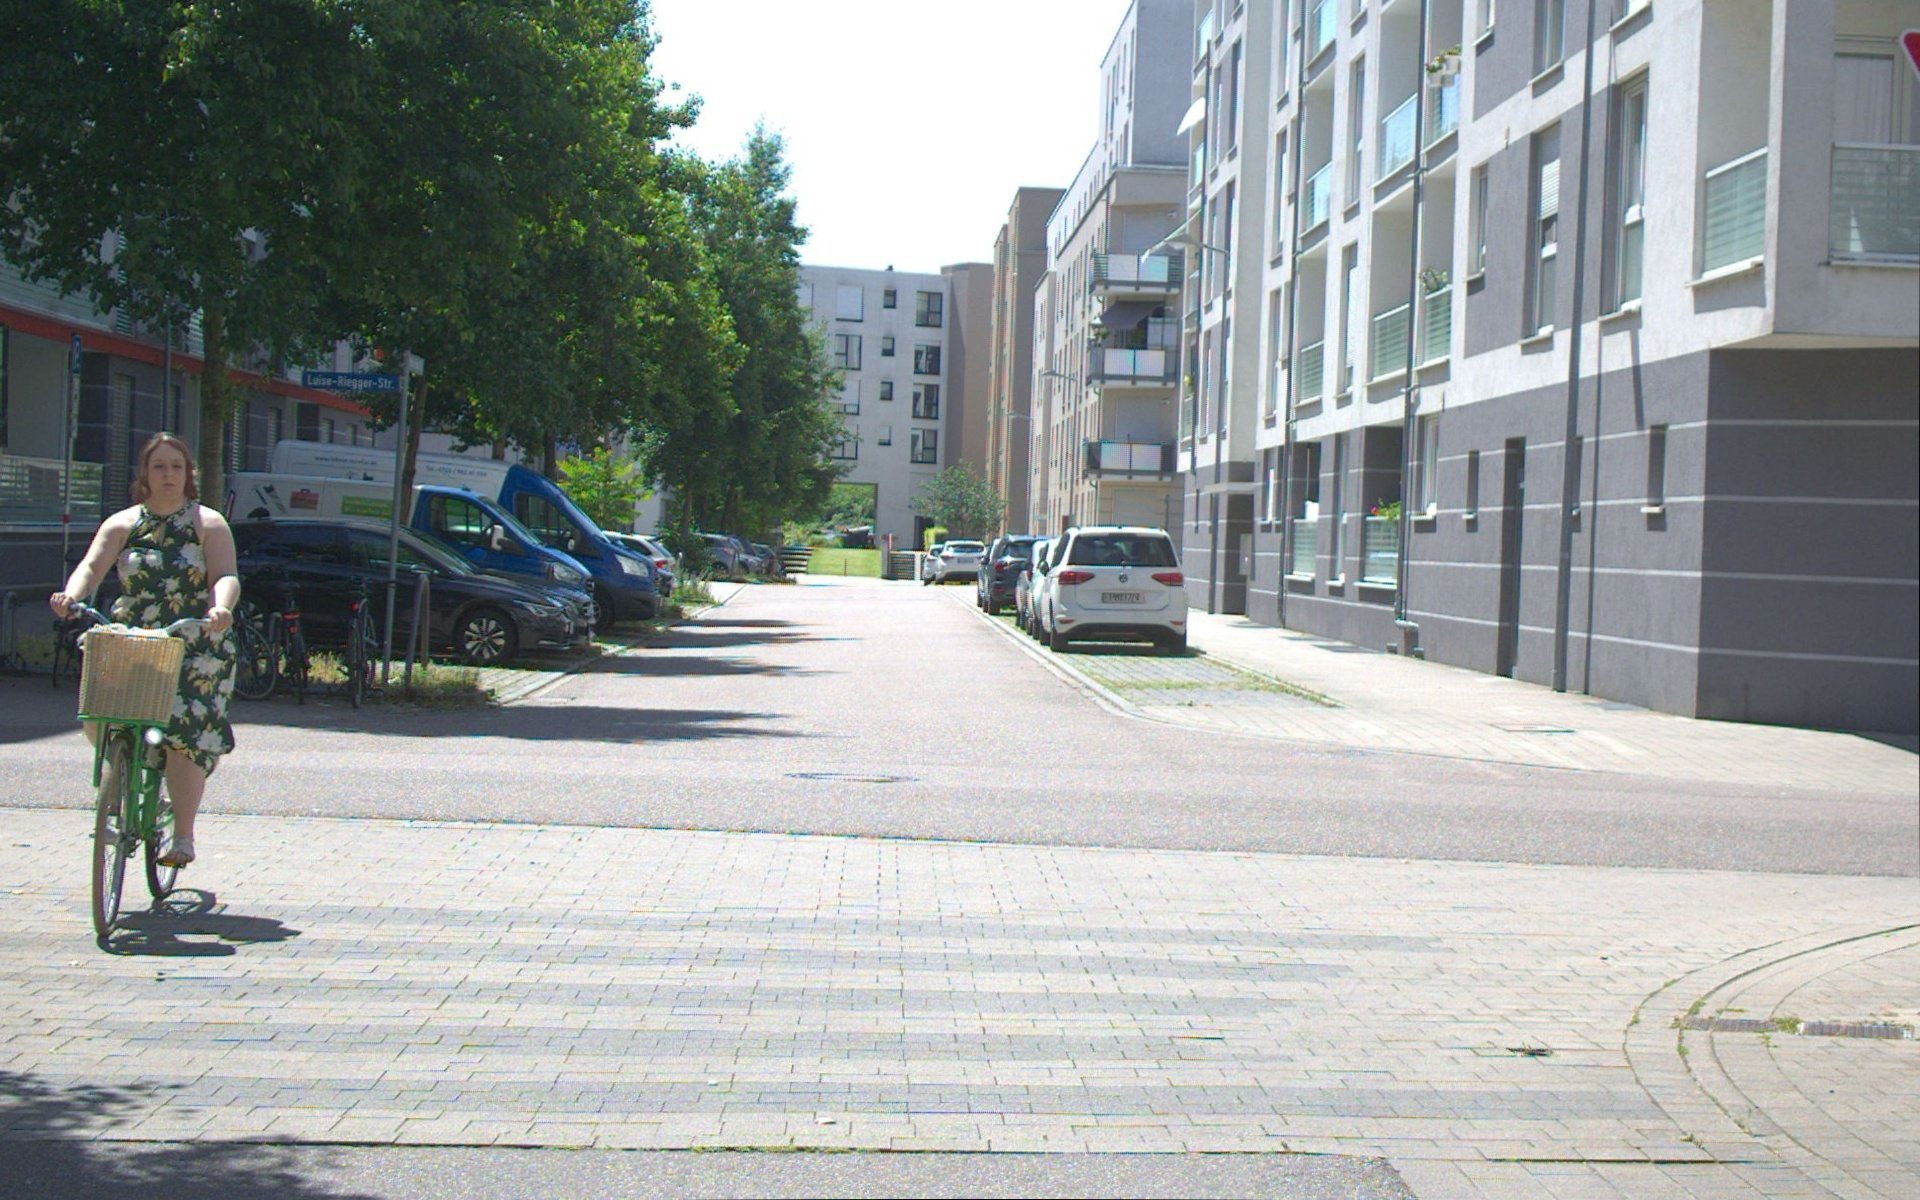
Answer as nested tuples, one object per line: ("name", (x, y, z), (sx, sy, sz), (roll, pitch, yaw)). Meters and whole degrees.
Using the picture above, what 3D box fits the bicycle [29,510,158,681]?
("bicycle", (-7.112, -0.058, 28.280), (0.593, 1.327, 1.812), (2, 2, -1))

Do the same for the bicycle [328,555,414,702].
("bicycle", (-4.868, 0.215, 28.490), (0.466, 1.138, 1.926), (2, 1, -4))

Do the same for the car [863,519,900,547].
("car", (-4.544, -3.837, 197.566), (1.993, 1.514, 4.001), (2, 1, -3))

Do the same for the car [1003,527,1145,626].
("car", (1.824, -0.417, 56.224), (1.993, 1.519, 4.001), (1, 1, -2))

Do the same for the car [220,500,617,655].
("car", (-6.413, -0.281, 41.044), (4.383, 1.536, 1.878), (4, 1, -1))

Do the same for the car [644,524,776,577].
("car", (-8.158, -1.629, 112.381), (3.988, 1.597, 2.000), (2, 1, 5))

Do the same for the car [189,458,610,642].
("car", (-7.352, -0.682, 45.528), (5.144, 2.112, 2.312), (3, 1, -1))

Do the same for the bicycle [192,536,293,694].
("bicycle", (-5.884, 0.101, 28.258), (0.434, 1.200, 1.700), (4, 2, -1))

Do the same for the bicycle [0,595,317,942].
("bicycle", (-3.024, 0.578, 12.841), (0.898, 1.125, 2.040), (2, 1, -2))

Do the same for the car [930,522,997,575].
("car", (0.085, -1.718, 114.329), (1.993, 1.669, 4.001), (2, 1, -3))

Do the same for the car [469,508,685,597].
("car", (-7.564, -0.952, 68.163), (3.987, 1.612, 2.000), (2, 1, 1))

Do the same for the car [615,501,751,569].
("car", (-8.835, -2.075, 109.777), (3.988, 2.007, 2.000), (2, 1, 5))

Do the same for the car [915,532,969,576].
("car", (-0.752, -1.909, 141.552), (1.993, 1.711, 4.001), (2, 1, -3))

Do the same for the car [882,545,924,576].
("car", (-2.942, -2.053, 176.843), (1.993, 1.514, 4.000), (2, 1, 1))

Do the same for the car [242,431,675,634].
("car", (-7.352, -1.001, 50.955), (6.023, 2.806, 2.605), (1, 1, -1))

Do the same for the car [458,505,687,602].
("car", (-7.231, -0.875, 64.432), (3.987, 1.656, 2.000), (2, 1, 1))

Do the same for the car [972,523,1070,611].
("car", (1.196, -0.650, 65.793), (1.757, 1.547, 4.000), (3, 1, 2))

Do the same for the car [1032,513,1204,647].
("car", (2.051, -0.302, 45.695), (1.997, 1.651, 4.115), (1, 1, -1))

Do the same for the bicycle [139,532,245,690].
("bicycle", (-6.355, 0.069, 28.503), (0.518, 1.200, 1.753), (3, 2, -4))

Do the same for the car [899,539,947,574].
("car", (-1.706, -1.979, 155.605), (1.993, 1.514, 4.001), (2, 1, -3))

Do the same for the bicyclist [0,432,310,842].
("bicyclist", (-2.989, 0.125, 12.827), (0.953, 1.454, 0.800), (2, 1, -2))

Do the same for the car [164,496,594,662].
("car", (-6.418, -0.253, 38.362), (4.383, 1.509, 2.075), (4, 1, -1))

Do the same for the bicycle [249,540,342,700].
("bicycle", (-5.452, 0.147, 28.260), (0.570, 1.170, 1.769), (5, 2, -8))

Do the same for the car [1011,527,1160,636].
("car", (1.828, -0.315, 51.395), (1.993, 1.519, 4.000), (1, 1, -1))
